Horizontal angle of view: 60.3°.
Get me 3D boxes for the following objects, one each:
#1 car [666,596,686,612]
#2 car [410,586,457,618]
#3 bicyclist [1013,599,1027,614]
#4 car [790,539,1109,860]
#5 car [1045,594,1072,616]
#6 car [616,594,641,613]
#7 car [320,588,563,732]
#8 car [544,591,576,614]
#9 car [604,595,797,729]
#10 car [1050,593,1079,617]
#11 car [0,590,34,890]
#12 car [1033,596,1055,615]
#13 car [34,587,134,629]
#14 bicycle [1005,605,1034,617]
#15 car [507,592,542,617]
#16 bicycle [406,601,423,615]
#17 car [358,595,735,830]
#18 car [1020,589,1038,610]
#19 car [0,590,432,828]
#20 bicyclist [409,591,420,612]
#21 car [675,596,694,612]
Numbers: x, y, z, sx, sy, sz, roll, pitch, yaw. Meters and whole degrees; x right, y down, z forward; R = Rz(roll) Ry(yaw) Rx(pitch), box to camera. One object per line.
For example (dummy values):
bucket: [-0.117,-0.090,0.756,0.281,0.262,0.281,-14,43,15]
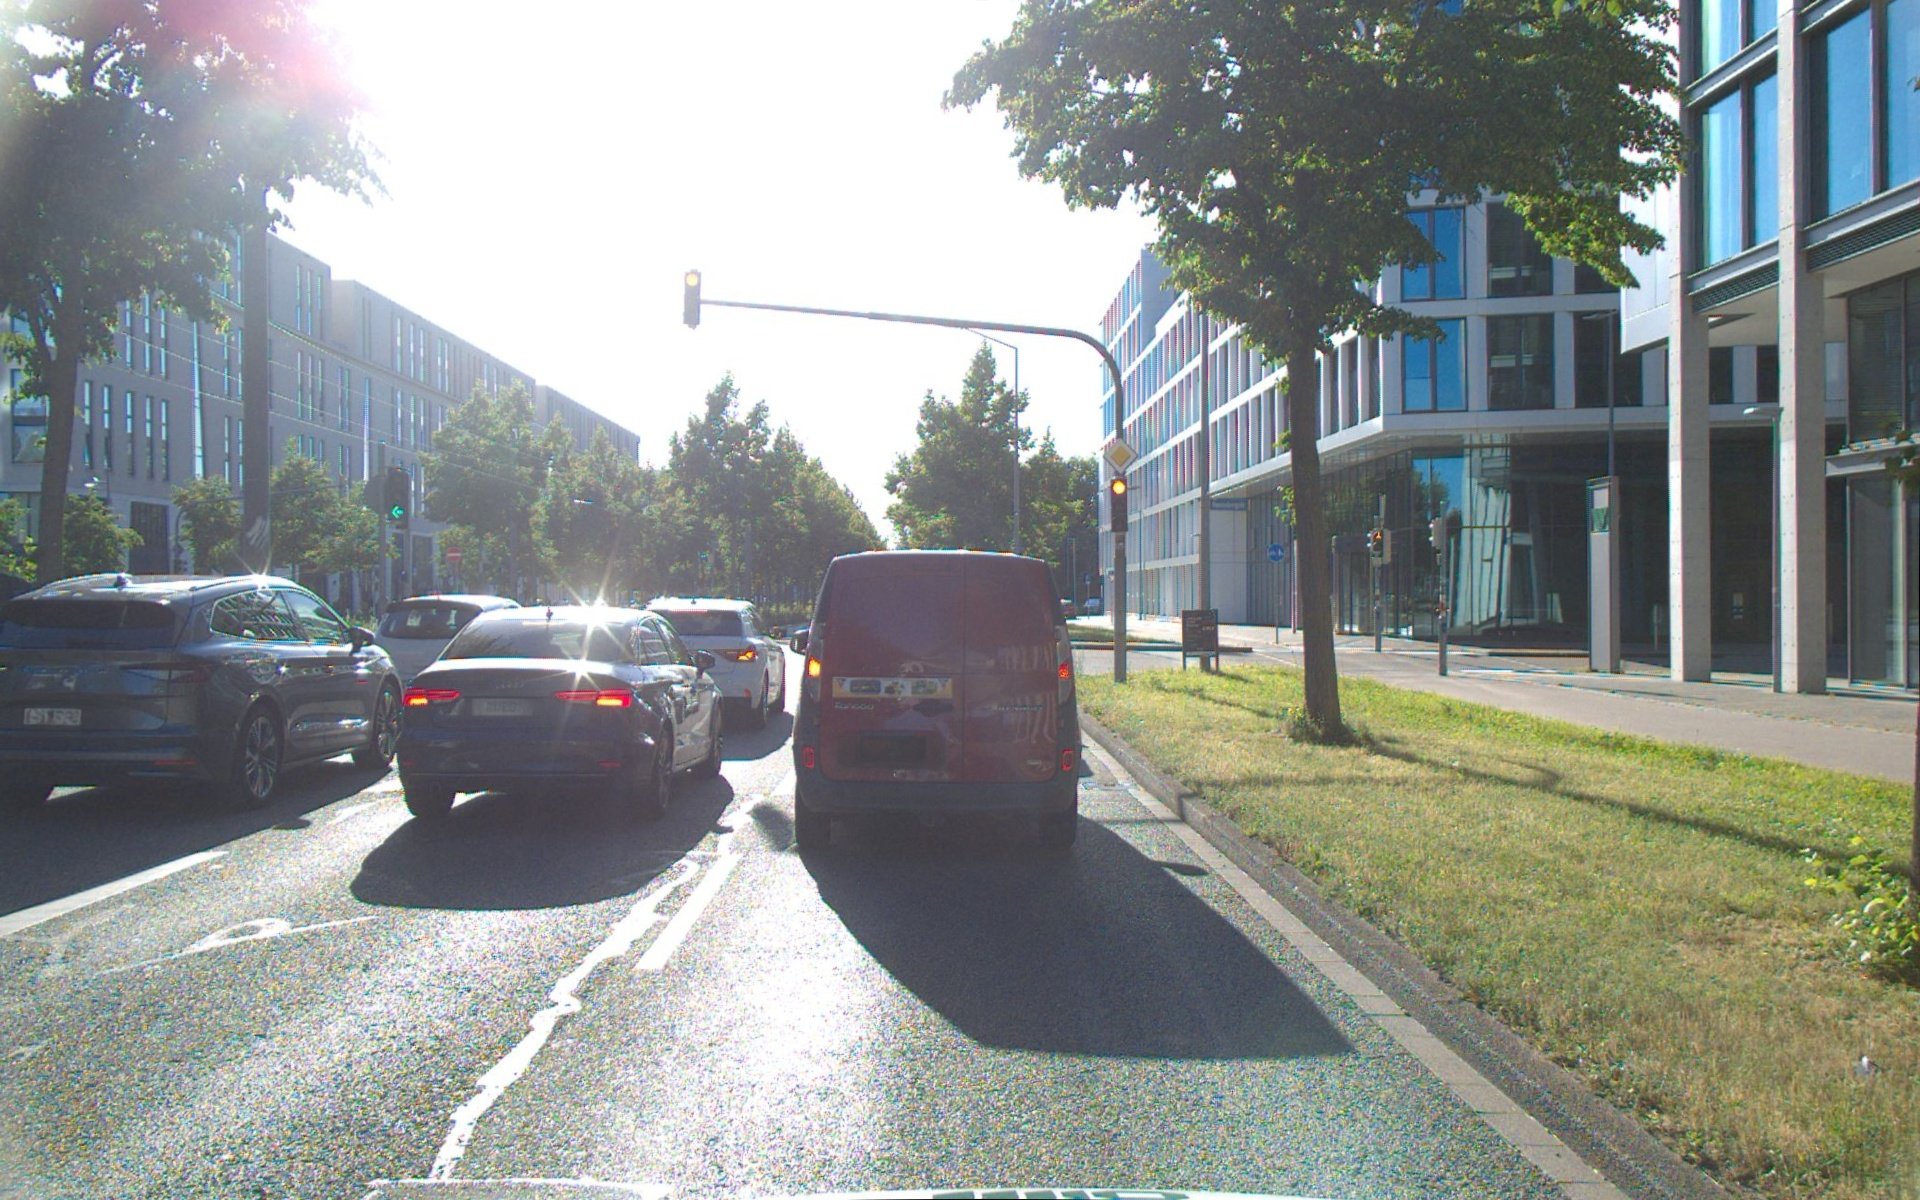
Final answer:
car: [-37.564,0.501,218.965,1.953,2.049,3.999,0,0,-1]
car: [-35.411,0.125,111.404,1.953,2.049,3.999,0,0,-1]
bicyclist: [5.656,0.611,155.035,0.966,1.462,0.948,0,0,33]
car: [-0.090,0.558,11.374,1.804,1.812,3.999,0,0,-1]
car: [8.062,0.411,135.368,1.953,1.813,3.999,0,0,-1]
car: [-36.902,0.351,184.145,1.953,2.049,3.999,0,0,-1]
car: [-6.282,0.659,20.586,1.764,1.509,4.565,3,0,-4]
car: [-36.524,0.199,151.066,1.953,2.049,3.999,0,0,-1]
car: [-2.996,0.663,19.842,1.767,1.451,3.900,0,0,-1]
car: [8.189,0.391,130.361,1.953,1.813,3.999,0,0,-1]
car: [-5.545,0.698,6.119,1.763,1.473,4.567,0,0,-2]
car: [8.257,0.557,163.070,1.953,1.813,3.999,0,0,-1]
car: [-33.286,0.278,62.949,1.729,1.546,3.999,0,0,-1]
bicycle: [5.575,0.988,155.092,2.590,1.126,0.948,0,0,34]
car: [-36.392,0.364,138.238,1.953,2.049,3.999,0,0,-1]
bicycle: [-41.263,0.602,125.102,0.663,1.005,1.956,0,0,-1]
car: [-2.855,0.689,12.416,1.804,1.451,4.338,0,0,-1]
car: [8.383,-0.104,200.793,1.953,2.540,4.985,0,0,-1]
car: [-5.624,0.671,12.655,1.762,1.473,4.567,-1,0,-1]
bicyclist: [-41.272,0.121,125.146,0.663,1.556,0.714,0,0,-1]
car: [-37.380,0.536,224.591,1.953,2.049,3.999,0,0,-1]
